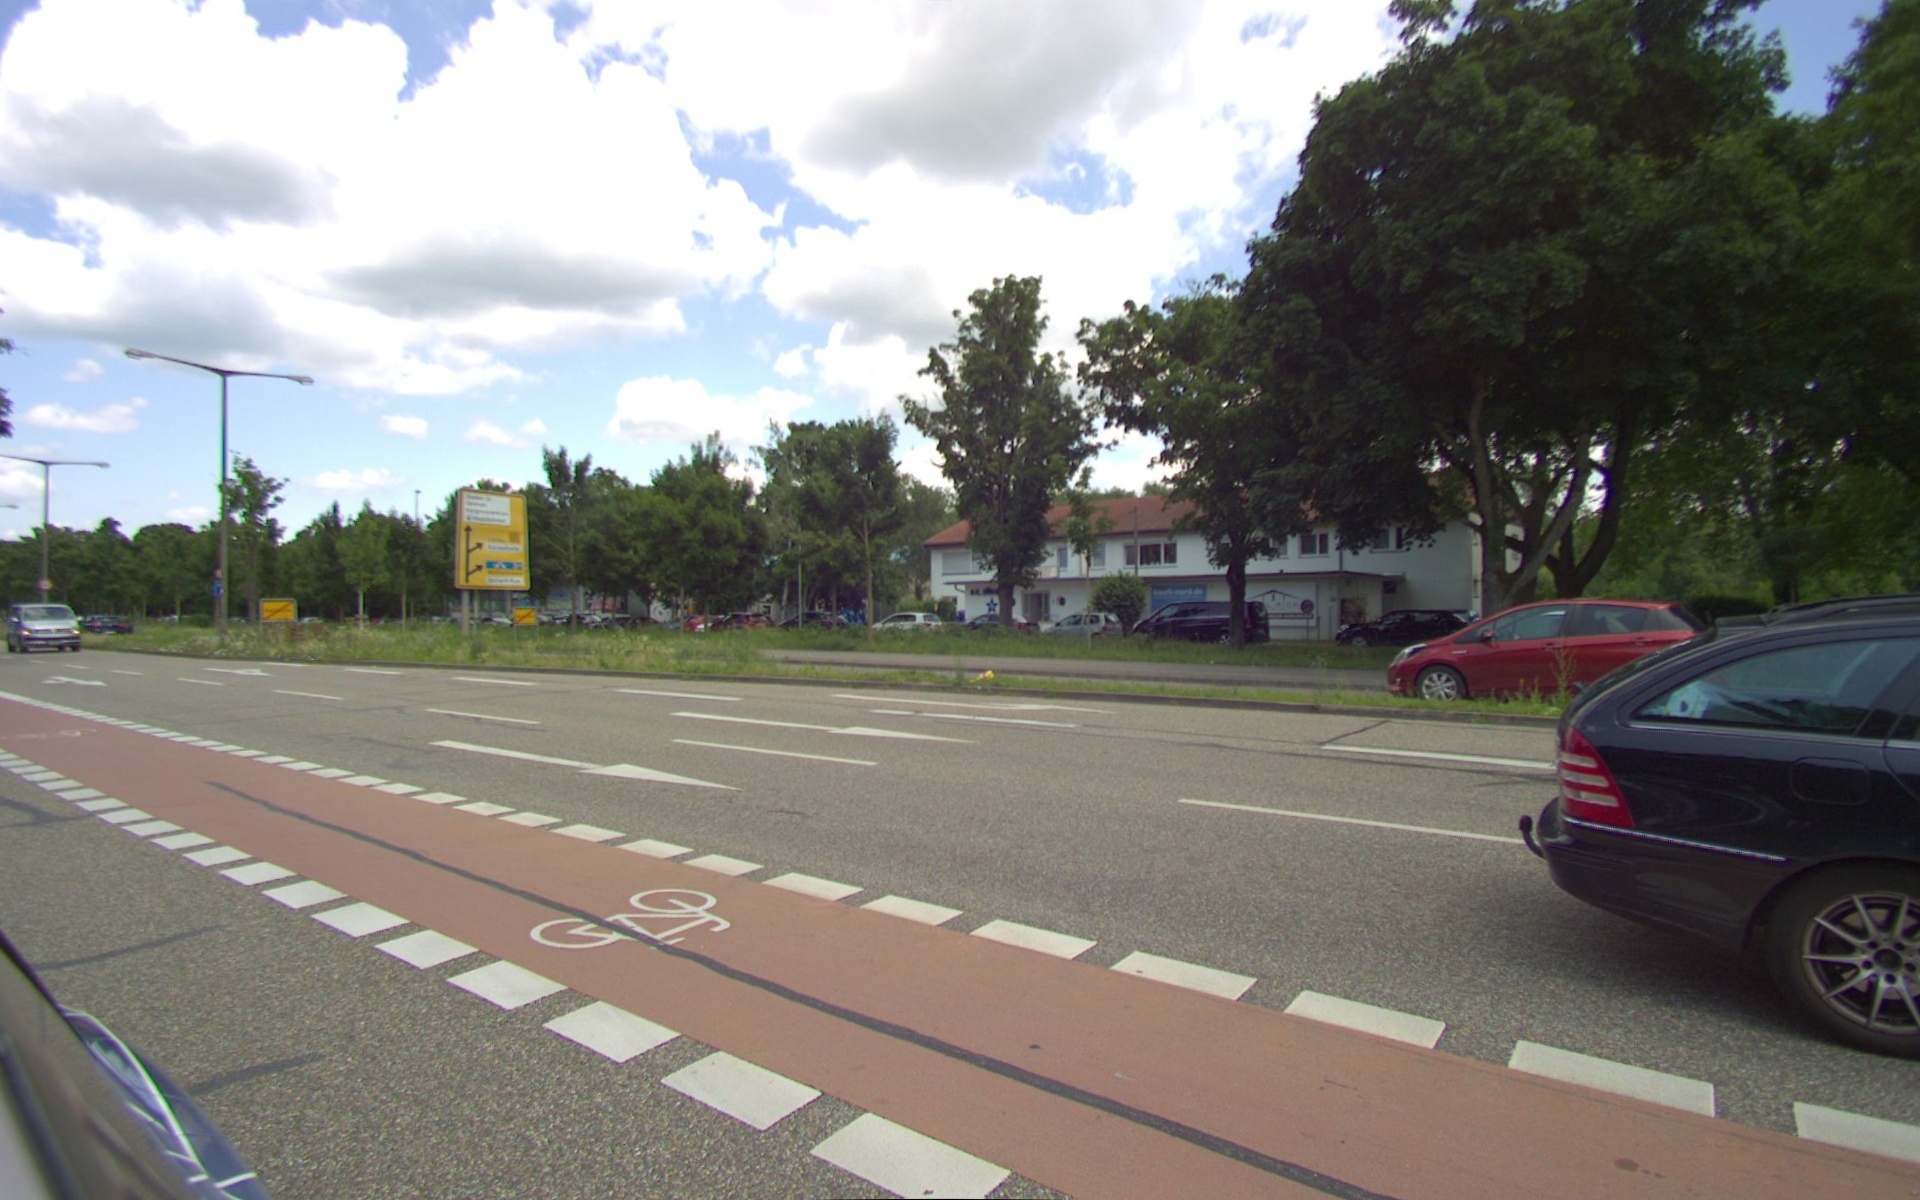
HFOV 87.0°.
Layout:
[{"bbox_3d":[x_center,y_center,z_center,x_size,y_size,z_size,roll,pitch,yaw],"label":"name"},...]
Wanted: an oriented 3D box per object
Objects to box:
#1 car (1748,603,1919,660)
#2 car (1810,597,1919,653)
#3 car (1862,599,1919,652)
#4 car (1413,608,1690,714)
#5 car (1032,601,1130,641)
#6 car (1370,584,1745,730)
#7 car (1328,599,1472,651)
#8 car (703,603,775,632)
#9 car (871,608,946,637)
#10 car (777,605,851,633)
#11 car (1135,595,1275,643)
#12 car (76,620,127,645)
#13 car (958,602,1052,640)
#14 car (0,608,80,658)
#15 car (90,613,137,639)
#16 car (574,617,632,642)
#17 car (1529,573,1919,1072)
[{"bbox_3d":[25.263,0.875,28.861,1.966,1.495,4.033,0,-1,-14],"label":"car"},{"bbox_3d":[27.751,0.725,29.580,1.966,1.600,4.033,0,-1,-14],"label":"car"},{"bbox_3d":[30.035,0.743,30.294,1.966,1.600,4.033,0,-3,-14],"label":"car"},{"bbox_3d":[9.228,0.872,15.906,3.588,1.456,1.596,-1,0,38],"label":"car"},{"bbox_3d":[5.066,0.874,42.529,3.664,1.600,1.896,-1,-2,41],"label":"car"},{"bbox_3d":[7.777,0.679,13.331,3.996,1.630,1.974,-1,-2,39],"label":"car"},{"bbox_3d":[15.048,0.827,34.634,4.347,1.670,1.794,-1,0,30],"label":"car"},{"bbox_3d":[-12.472,0.997,57.053,4.021,1.600,1.973,-1,-2,41],"label":"car"},{"bbox_3d":[-2.512,1.093,48.590,3.475,1.342,1.604,-1,-2,41],"label":"car"},{"bbox_3d":[-7.655,1.020,52.885,3.864,1.422,1.707,-1,-2,41],"label":"car"},{"bbox_3d":[9.281,0.746,38.609,4.927,1.724,1.863,-1,-2,41],"label":"car"},{"bbox_3d":[-51.476,1.907,60.650,3.689,1.457,1.665,-1,-2,39],"label":"car"},{"bbox_3d":[1.982,0.945,45.081,4.021,1.600,1.740,-1,-2,41],"label":"car"},{"bbox_3d":[-37.946,1.342,41.573,5.226,1.933,1.795,-1,-2,39],"label":"car"},{"bbox_3d":[-59.608,1.818,71.246,3.998,1.759,1.892,-1,-2,41],"label":"car"},{"bbox_3d":[-23.930,1.966,67.851,4.021,1.600,1.973,-1,-2,41],"label":"car"},{"bbox_3d":[4.306,0.640,2.913,4.428,1.477,1.738,-1,0,39],"label":"car"}]
